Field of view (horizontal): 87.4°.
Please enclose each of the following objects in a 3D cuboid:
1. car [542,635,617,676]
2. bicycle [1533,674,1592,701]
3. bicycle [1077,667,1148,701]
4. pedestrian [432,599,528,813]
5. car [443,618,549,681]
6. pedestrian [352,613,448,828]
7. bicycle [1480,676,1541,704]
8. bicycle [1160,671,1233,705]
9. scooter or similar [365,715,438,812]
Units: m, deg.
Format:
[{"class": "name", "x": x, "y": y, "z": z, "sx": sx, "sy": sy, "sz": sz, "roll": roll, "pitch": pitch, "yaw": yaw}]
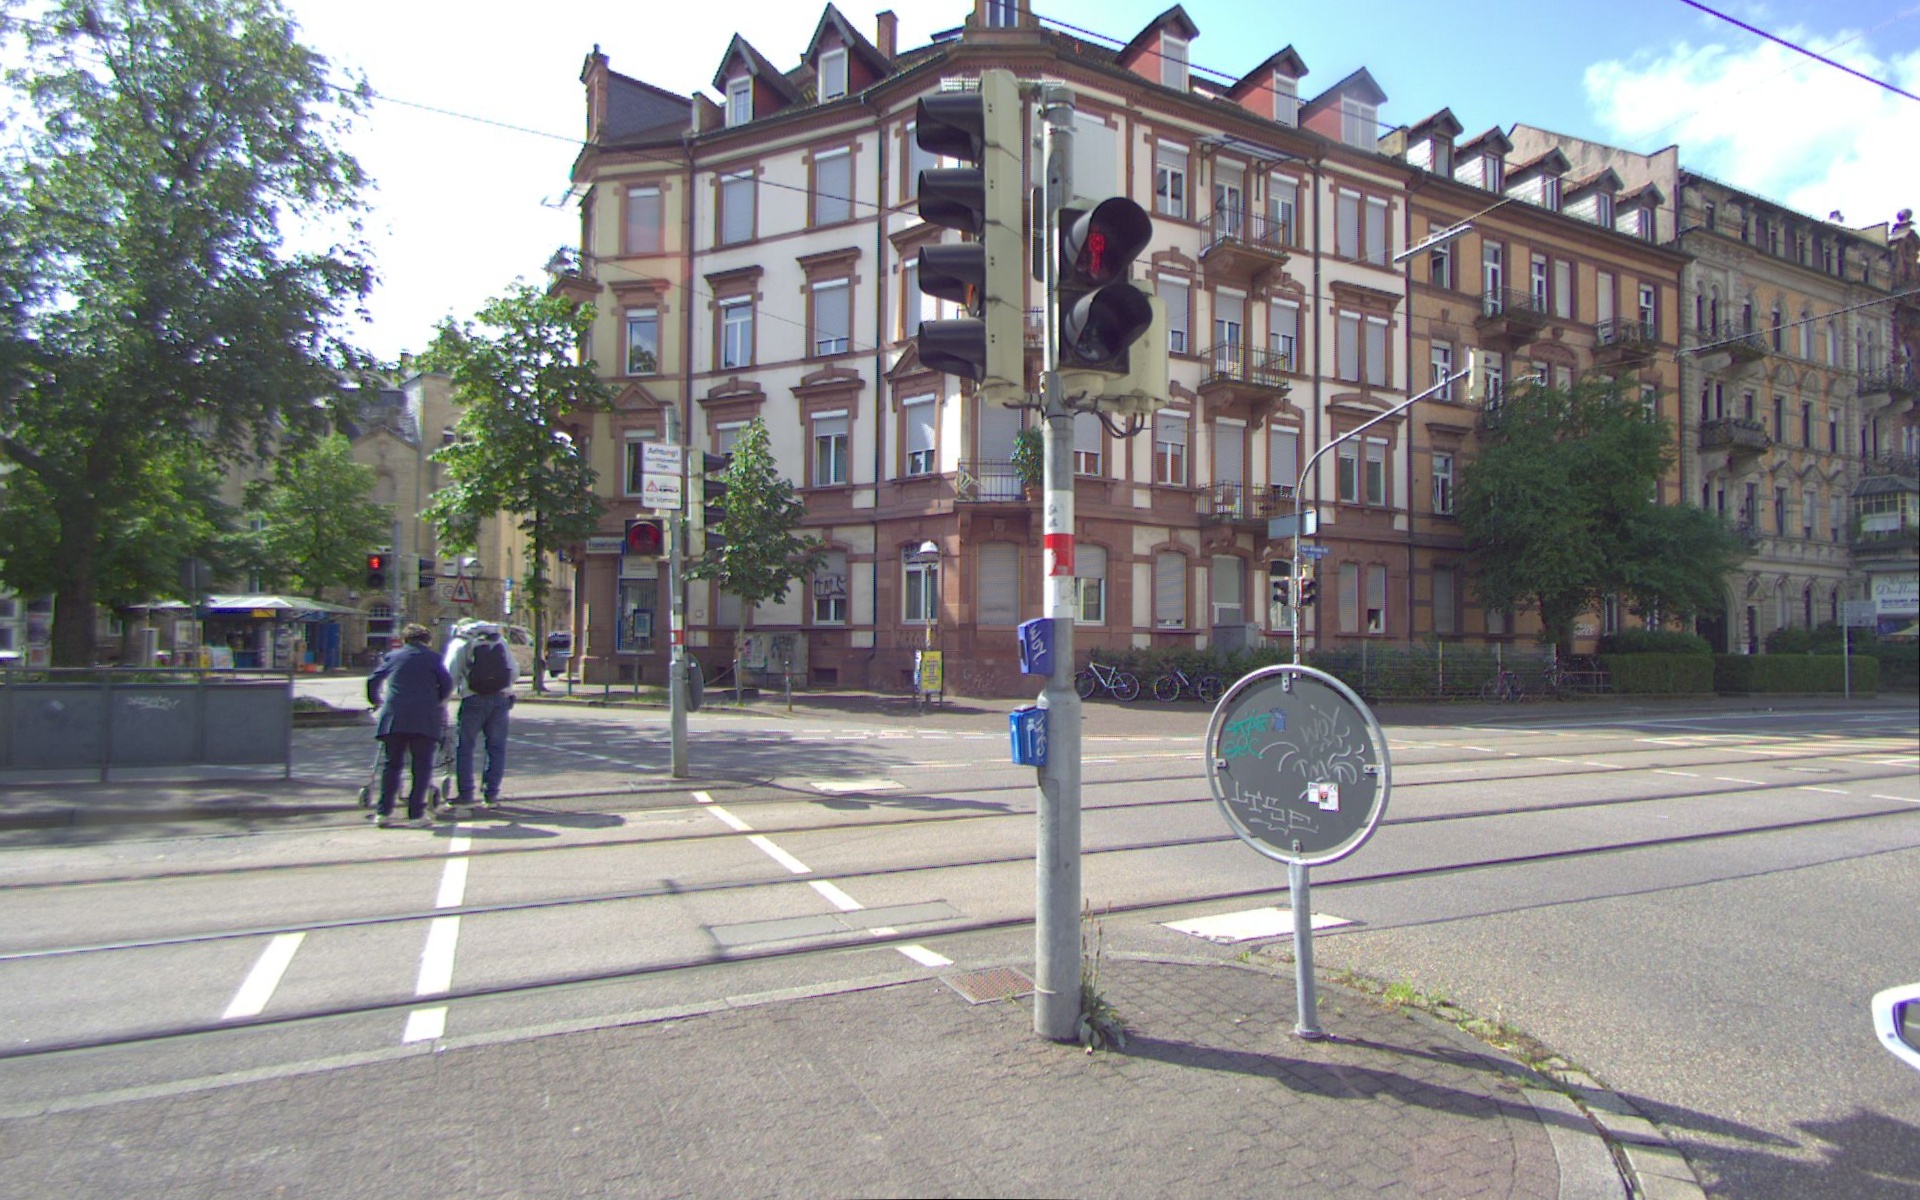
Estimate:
[{"class": "car", "x": -16.584, "y": 2.432, "z": 43.988, "sx": 1.879, "sy": 1.685, "sz": 3.941, "roll": 1, "pitch": -3, "yaw": -3}, {"class": "bicycle", "x": 15.879, "y": 2.303, "z": 26.462, "sx": 1.686, "sy": 0.686, "sz": 0.384, "roll": 2, "pitch": -2, "yaw": -22}, {"class": "bicycle", "x": 3.680, "y": 2.021, "z": 24.203, "sx": 1.676, "sy": 0.757, "sz": 0.387, "roll": 0, "pitch": -2, "yaw": 11}, {"class": "pedestrian", "x": -4.045, "y": 0.867, "z": 8.484, "sx": 0.659, "sy": 1.696, "sz": 0.768, "roll": 2, "pitch": -2, "yaw": -26}, {"class": "car", "x": -15.660, "y": 1.661, "z": 34.122, "sx": 1.820, "sy": 2.014, "sz": 3.948, "roll": 1, "pitch": -2, "yaw": -2}, {"class": "pedestrian", "x": -4.312, "y": 0.902, "z": 7.773, "sx": 0.573, "sy": 1.566, "sz": 0.665, "roll": 2, "pitch": -2, "yaw": -26}, {"class": "bicycle", "x": 13.950, "y": 2.277, "z": 25.445, "sx": 1.686, "sy": 0.662, "sz": 0.384, "roll": 2, "pitch": -2, "yaw": -22}, {"class": "bicycle", "x": 5.613, "y": 2.079, "z": 23.863, "sx": 1.676, "sy": 0.757, "sz": 0.387, "roll": 0, "pitch": -2, "yaw": 11}, {"class": "scooter or similar", "x": -4.567, "y": 1.327, "z": 8.239, "sx": 0.480, "sy": 0.730, "sz": 0.412, "roll": 2, "pitch": -3, "yaw": -26}]
